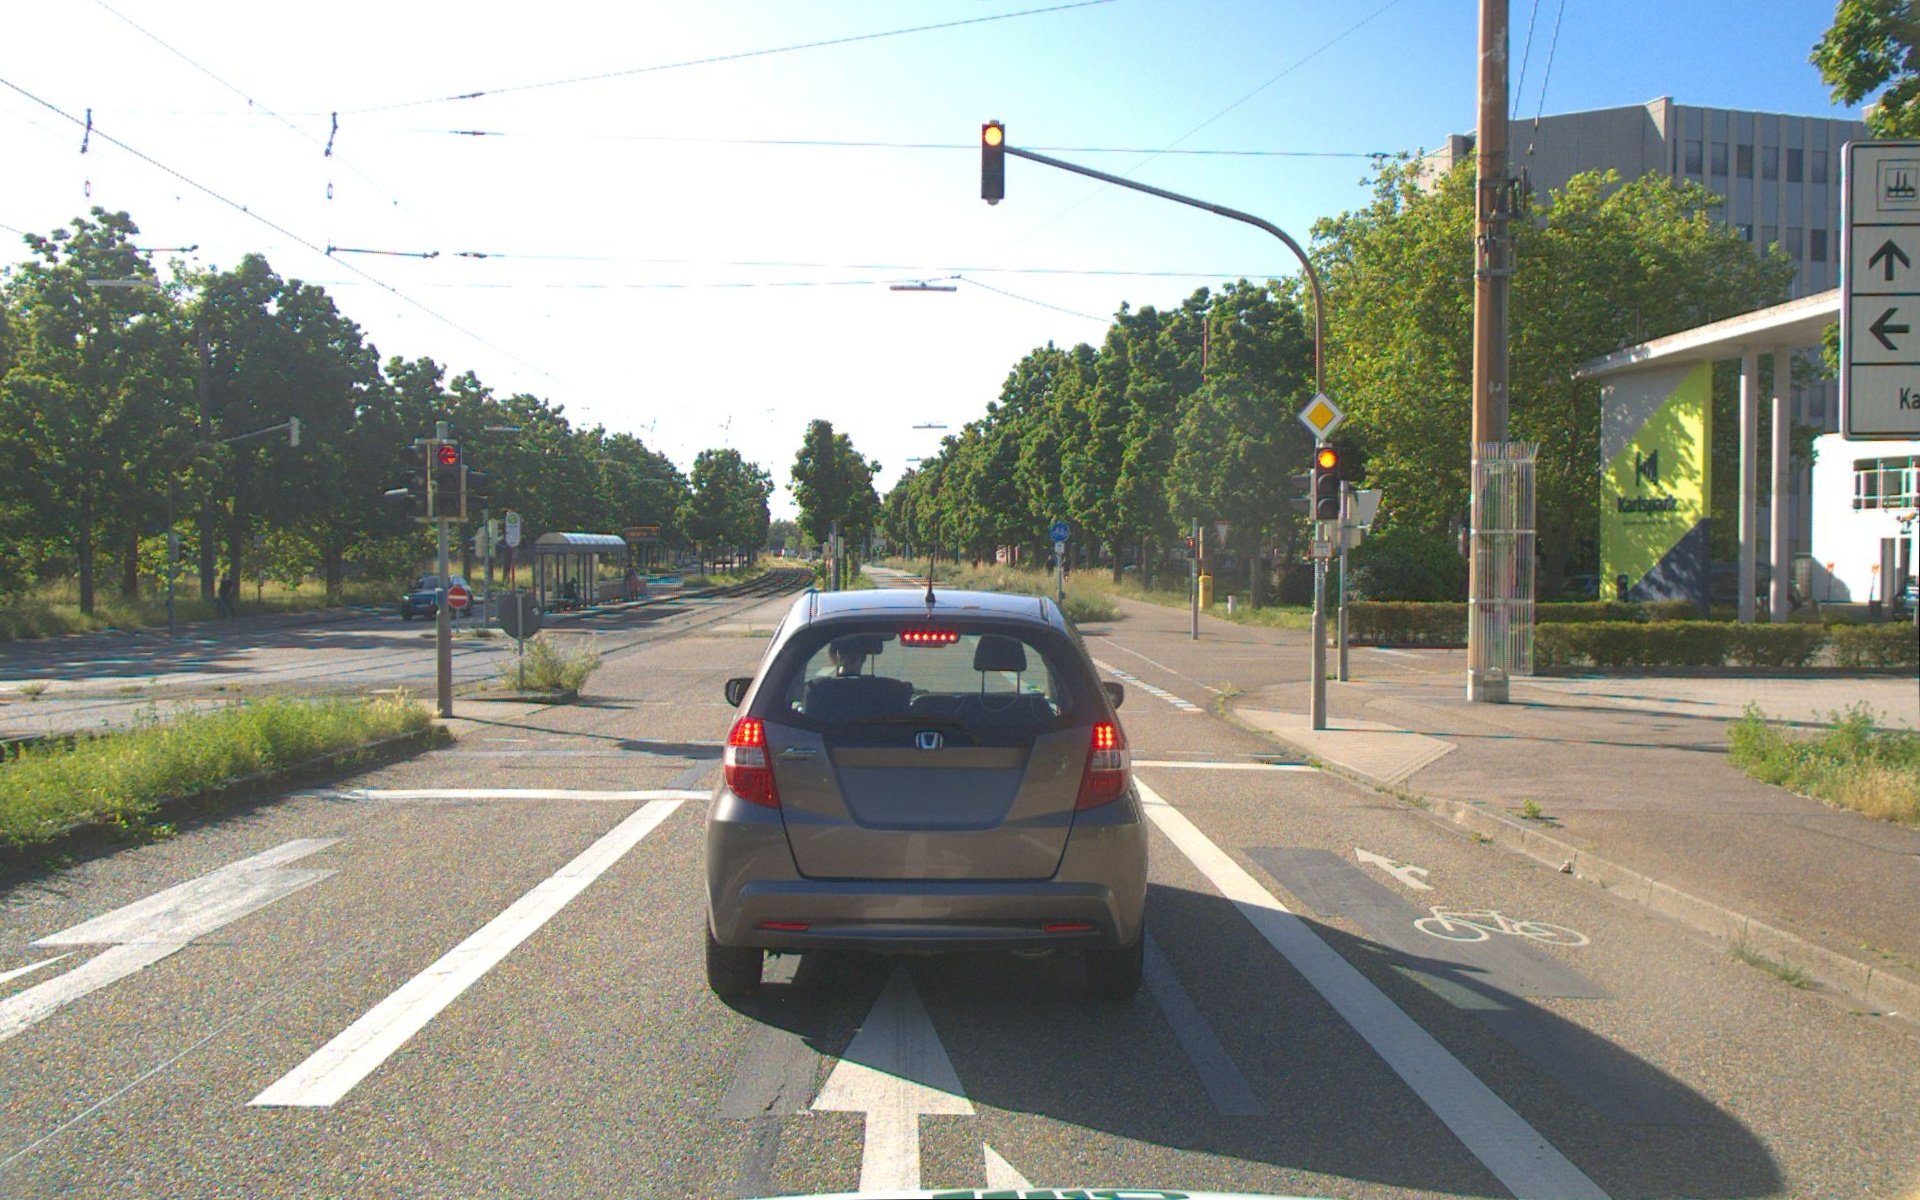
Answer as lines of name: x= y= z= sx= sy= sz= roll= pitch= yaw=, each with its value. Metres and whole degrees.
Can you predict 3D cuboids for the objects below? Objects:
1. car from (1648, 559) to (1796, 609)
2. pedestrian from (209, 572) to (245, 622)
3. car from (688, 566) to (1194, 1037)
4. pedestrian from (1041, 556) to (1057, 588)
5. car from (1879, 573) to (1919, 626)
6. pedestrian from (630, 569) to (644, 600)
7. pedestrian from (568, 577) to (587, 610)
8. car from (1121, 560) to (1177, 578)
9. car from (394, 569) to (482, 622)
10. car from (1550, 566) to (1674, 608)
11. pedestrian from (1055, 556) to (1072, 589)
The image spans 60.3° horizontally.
car: x=27.992 y=-0.614 z=60.772 sx=4.803 sy=1.787 sz=2.083 roll=0 pitch=1 yaw=-16
pedestrian: x=-26.487 y=-0.115 z=59.760 sx=0.744 sy=1.764 sz=0.936 roll=0 pitch=1 yaw=27
car: x=-0.086 y=0.666 z=7.342 sx=1.666 sy=1.550 sz=3.709 roll=1 pitch=0 yaw=-1
pedestrian: x=5.300 y=-1.661 z=98.812 sx=0.865 sy=1.917 sz=0.875 roll=0 pitch=1 yaw=-5
car: x=30.626 y=-0.021 z=50.745 sx=3.914 sy=1.605 sz=1.950 roll=0 pitch=1 yaw=-10
pedestrian: x=-15.598 y=-0.756 z=79.855 sx=0.533 sy=1.473 sz=0.559 roll=-1 pitch=0 yaw=-1
pedestrian: x=-15.105 y=-0.255 z=65.302 sx=0.552 sy=1.279 sz=0.580 roll=-2 pitch=0 yaw=-2
car: x=16.540 y=-2.734 z=144.822 sx=4.543 sy=1.582 sz=1.997 roll=-1 pitch=1 yaw=-7
car: x=-20.285 y=-0.204 z=64.444 sx=2.052 sy=1.841 sz=4.791 roll=-2 pitch=2 yaw=-3
car: x=26.625 y=-0.546 z=67.613 sx=4.371 sy=1.715 sz=1.892 roll=0 pitch=1 yaw=-7
pedestrian: x=6.197 y=-1.648 z=98.999 sx=0.865 sy=1.917 sz=0.875 roll=0 pitch=1 yaw=-5
